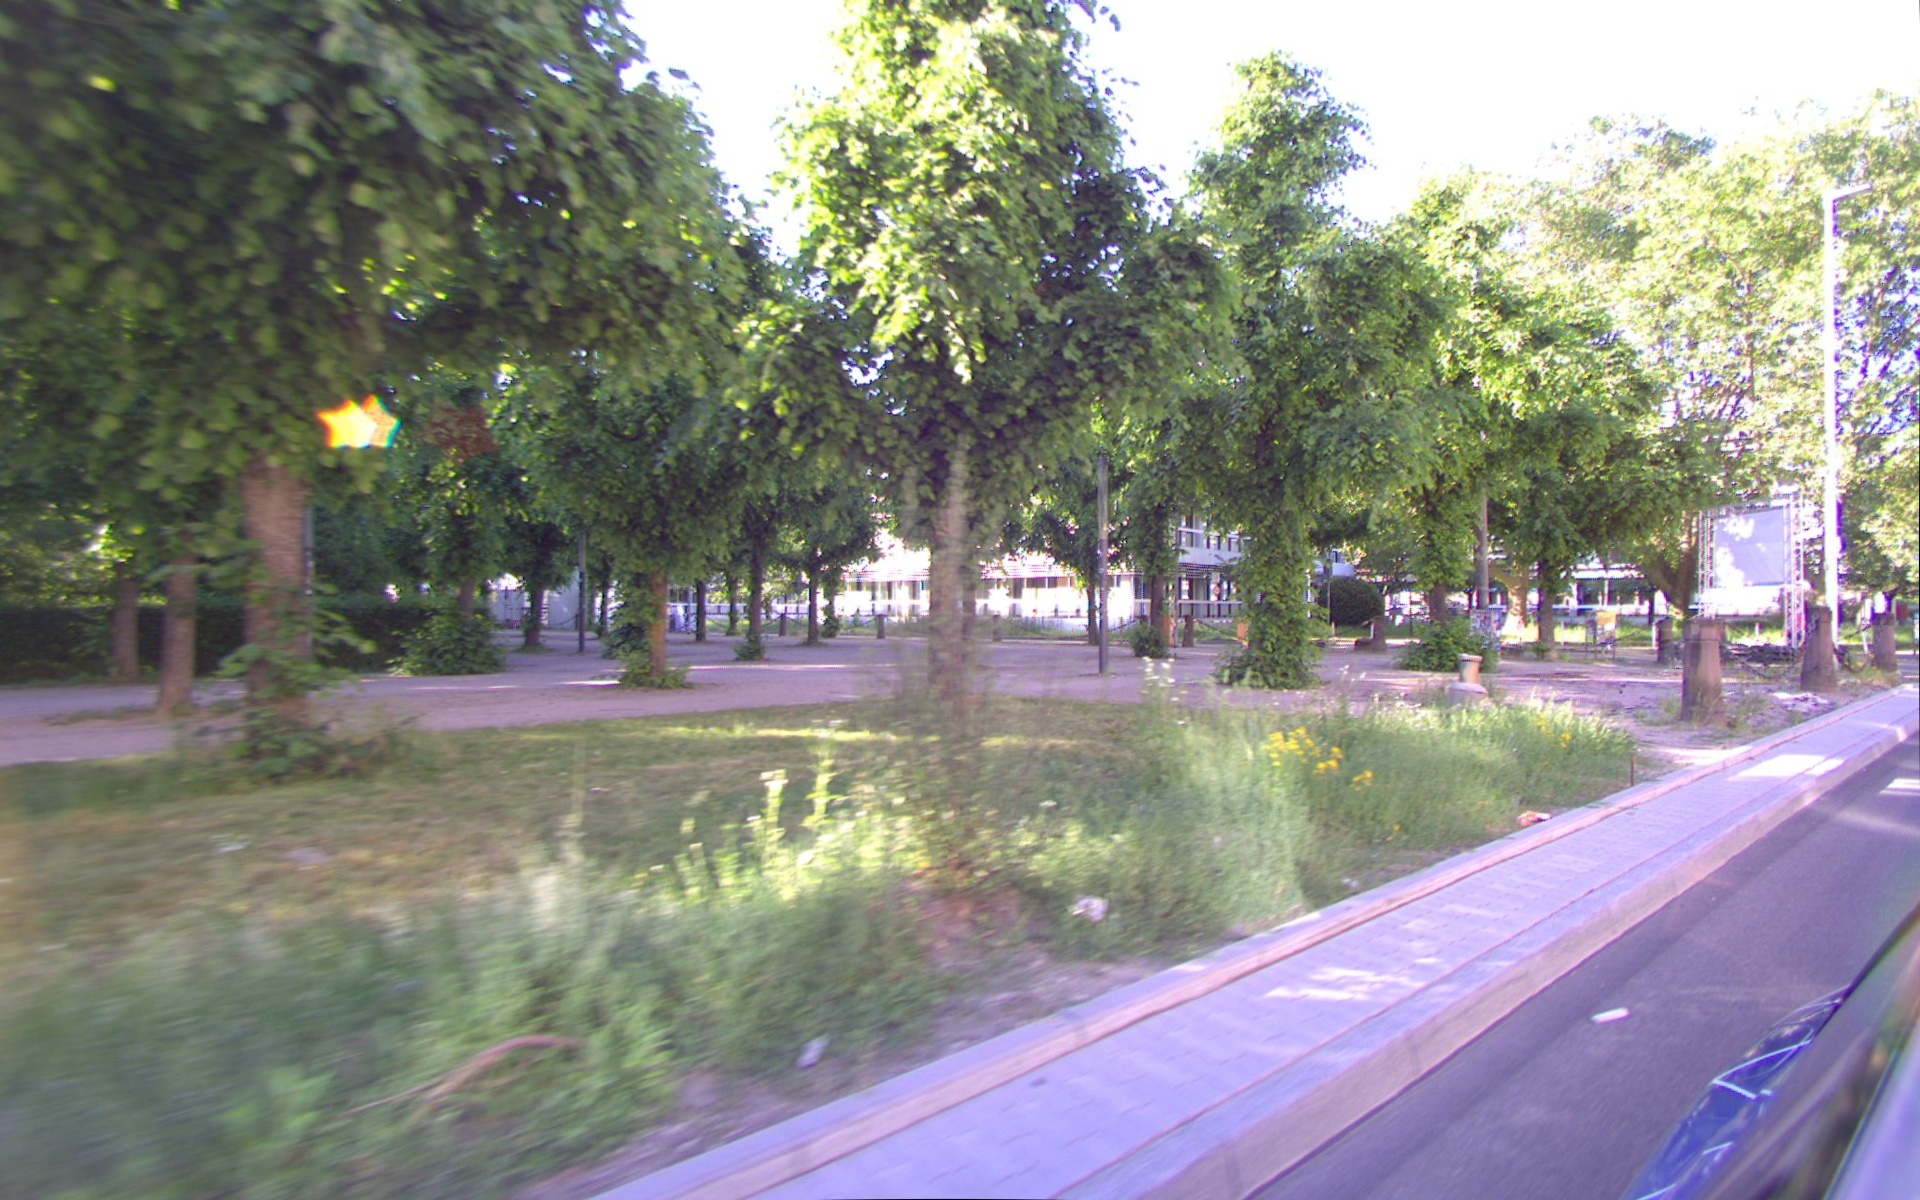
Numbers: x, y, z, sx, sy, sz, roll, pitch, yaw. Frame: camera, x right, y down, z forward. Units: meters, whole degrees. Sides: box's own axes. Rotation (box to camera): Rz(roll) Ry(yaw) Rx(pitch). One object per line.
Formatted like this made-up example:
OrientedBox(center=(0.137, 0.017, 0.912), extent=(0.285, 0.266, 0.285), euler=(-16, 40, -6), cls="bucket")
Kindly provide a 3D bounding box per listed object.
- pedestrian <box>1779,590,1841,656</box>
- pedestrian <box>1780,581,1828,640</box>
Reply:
OrientedBox(center=(21.541, 0.573, 25.673), extent=(0.923, 1.644, 0.708), euler=(-1, -1, 9), cls="pedestrian")
OrientedBox(center=(27.162, 0.345, 32.598), extent=(1.127, 1.836, 0.737), euler=(-1, -3, 37), cls="pedestrian")
